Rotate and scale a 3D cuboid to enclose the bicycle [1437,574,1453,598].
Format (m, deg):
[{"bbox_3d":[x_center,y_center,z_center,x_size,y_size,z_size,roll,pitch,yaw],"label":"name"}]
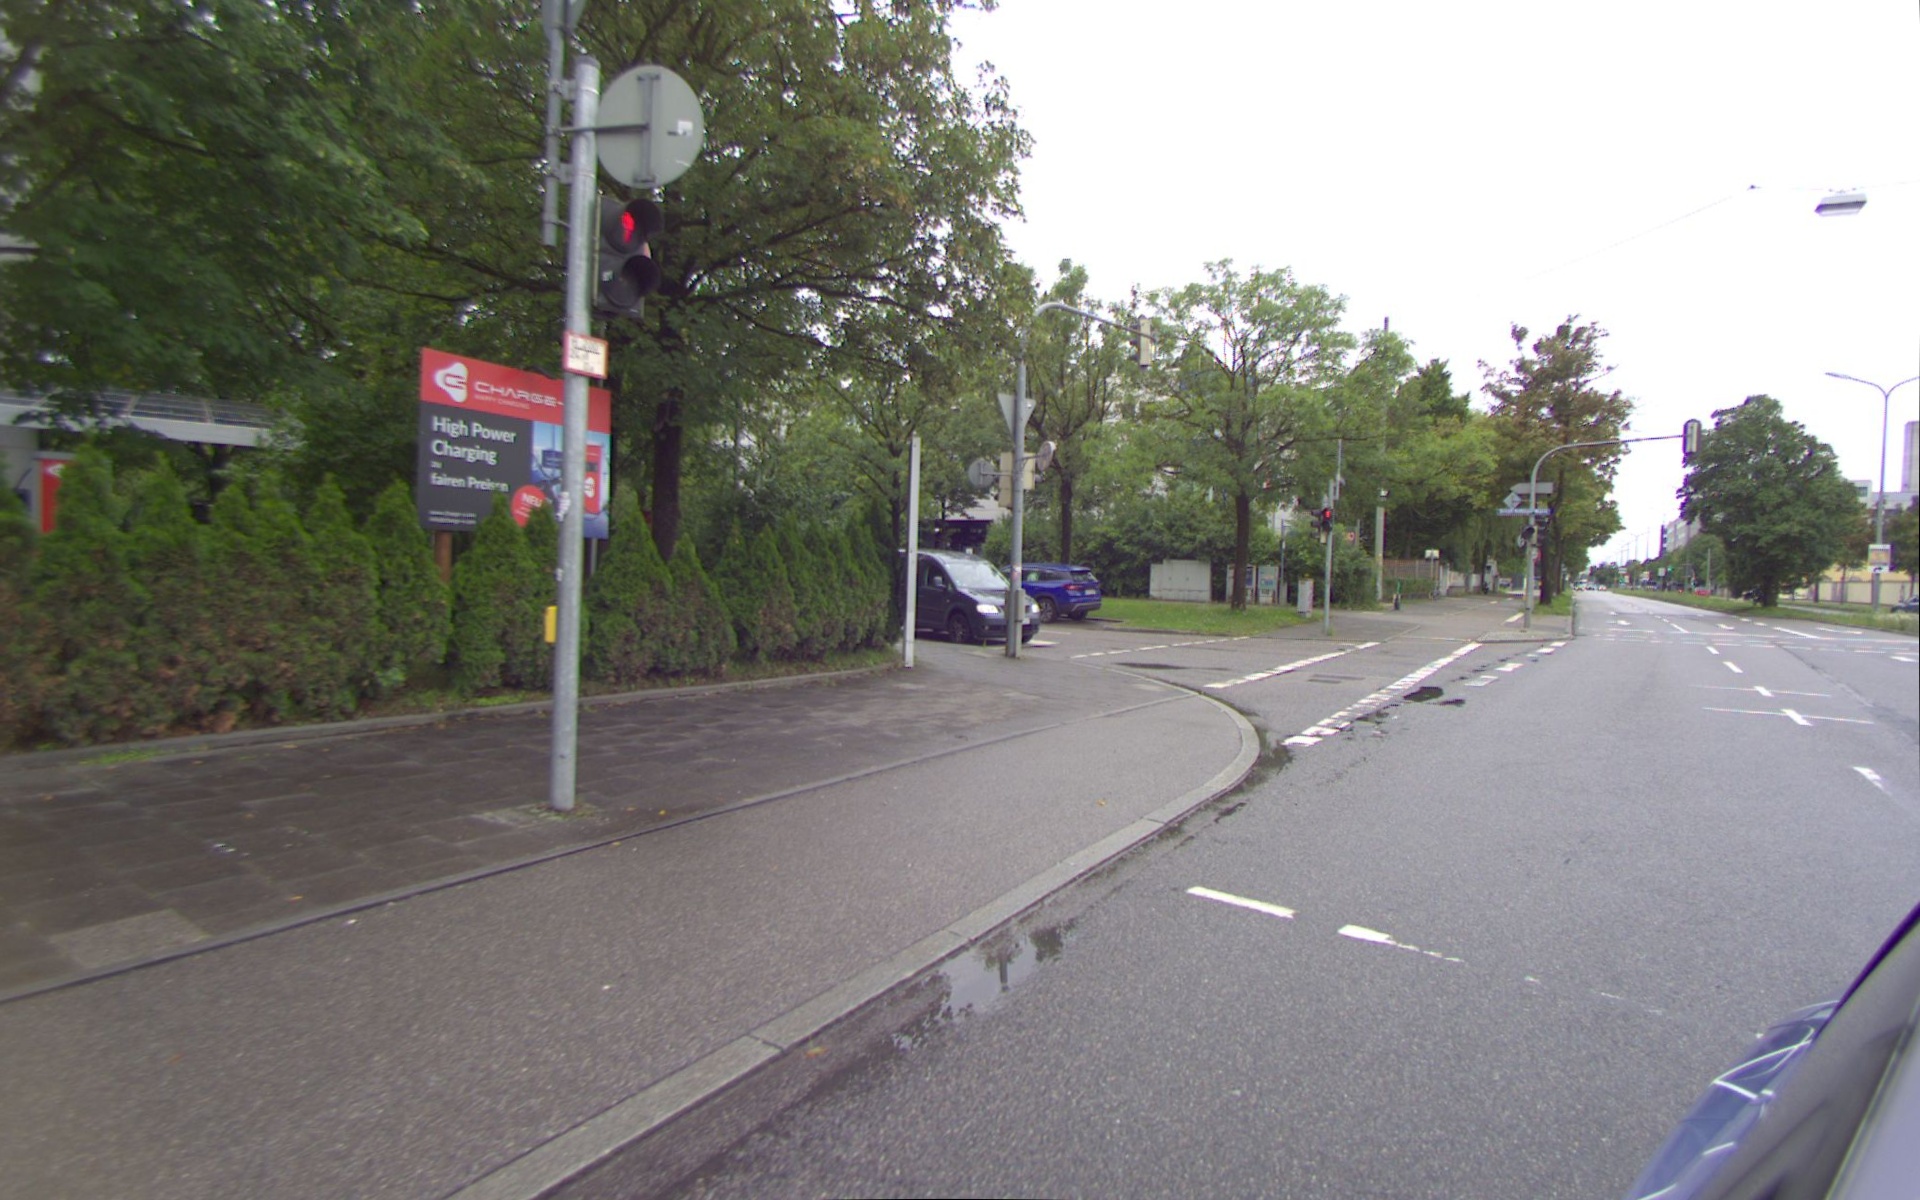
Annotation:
[{"bbox_3d":[27.067,-0.798,56.467,0.579,1.311,2.429,4,3,29],"label":"bicycle"}]

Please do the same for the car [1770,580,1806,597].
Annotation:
[{"bbox_3d":[79.593,-1.144,97.316,1.869,1.485,4.455,4,3,30],"label":"car"}]

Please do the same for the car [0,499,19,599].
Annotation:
[{"bbox_3d":[-15.819,-0.873,15.516,1.837,1.436,4.173,1,3,-40],"label":"car"}]

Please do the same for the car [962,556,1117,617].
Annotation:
[{"bbox_3d":[2.279,-0.456,29.798,4.266,1.593,1.971,3,4,41],"label":"car"}]

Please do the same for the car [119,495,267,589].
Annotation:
[{"bbox_3d":[-13.627,-1.041,17.880,1.837,1.436,4.173,1,3,-40],"label":"car"}]

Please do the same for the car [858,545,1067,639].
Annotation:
[{"bbox_3d":[-0.086,-0.218,21.185,1.962,1.744,4.792,1,1,-35],"label":"car"}]

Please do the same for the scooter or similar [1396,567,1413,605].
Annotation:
[{"bbox_3d":[17.490,-0.575,39.842,0.366,1.441,1.398,3,2,16],"label":"scooter or similar"}]

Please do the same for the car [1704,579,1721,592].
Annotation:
[{"bbox_3d":[106.355,-2.099,143.071,1.477,1.736,3.513,4,3,30],"label":"car"}]

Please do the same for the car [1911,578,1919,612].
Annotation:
[{"bbox_3d":[43.799,-0.160,44.561,1.904,1.525,4.389,4,3,32],"label":"car"}]
